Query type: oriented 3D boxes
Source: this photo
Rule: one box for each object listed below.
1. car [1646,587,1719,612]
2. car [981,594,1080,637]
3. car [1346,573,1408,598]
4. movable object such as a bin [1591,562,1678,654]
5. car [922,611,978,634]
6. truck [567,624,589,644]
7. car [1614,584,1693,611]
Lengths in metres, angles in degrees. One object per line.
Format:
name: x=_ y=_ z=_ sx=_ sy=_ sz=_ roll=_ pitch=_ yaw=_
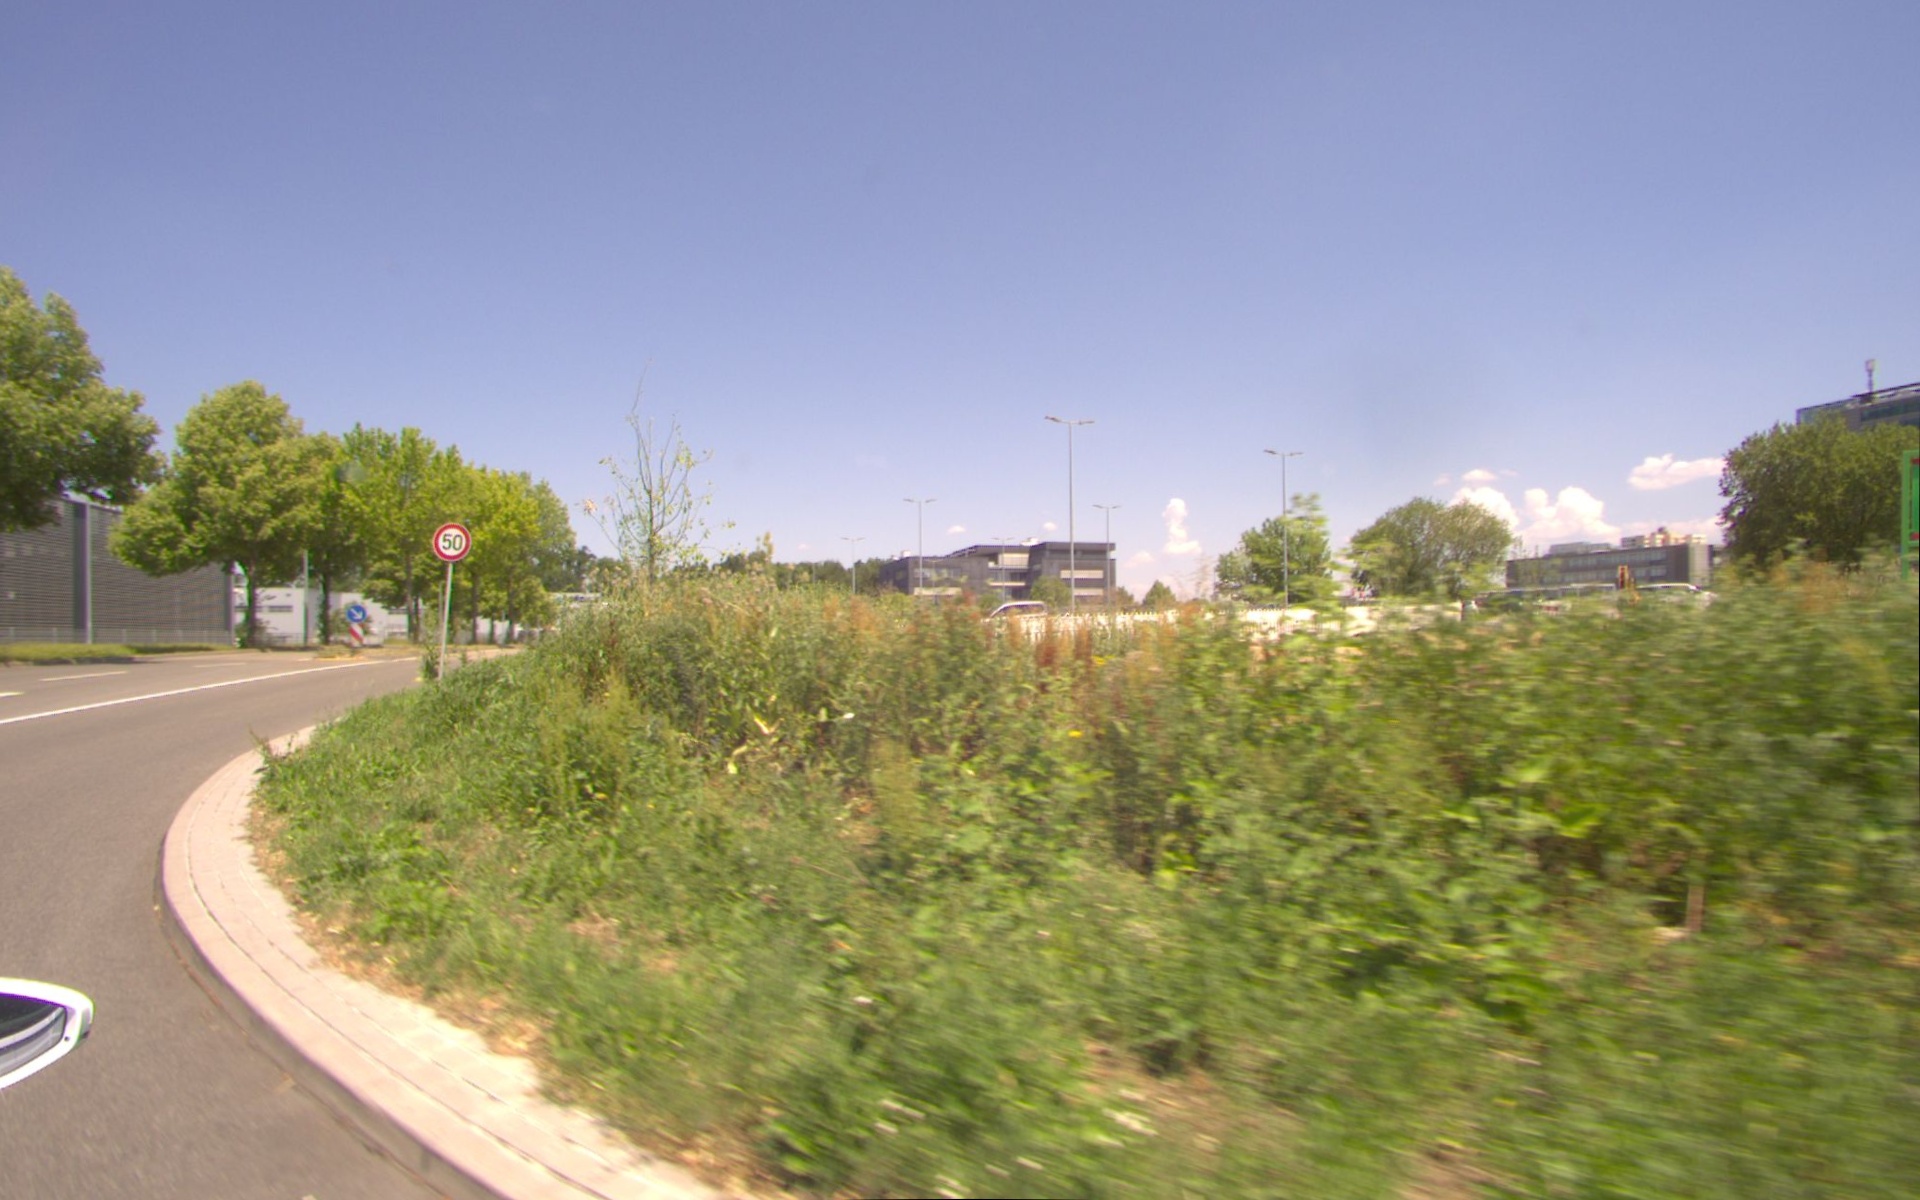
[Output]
car: x=50.062 y=-0.013 z=69.449 sx=3.955 sy=1.549 sz=1.861 roll=-3 pitch=-2 yaw=41
car: x=3.441 y=0.728 z=48.931 sx=4.398 sy=1.940 sz=1.936 roll=-2 pitch=0 yaw=-18
car: x=29.311 y=-1.037 z=70.347 sx=3.940 sy=1.662 sz=1.990 roll=-2 pitch=2 yaw=-29
movable object such as a bin: x=32.889 y=0.222 z=48.656 sx=2.950 sy=4.100 sz=8.043 roll=0 pitch=2 yaw=38
car: x=-0.808 y=1.761 z=77.177 sx=3.929 sy=1.662 sz=1.925 roll=-1 pitch=-2 yaw=-17
truck: x=-63.732 y=5.684 z=167.094 sx=2.901 sy=2.926 sz=5.785 roll=-2 pitch=2 yaw=-25
car: x=44.113 y=-0.120 z=63.695 sx=3.955 sy=1.549 sz=1.861 roll=-3 pitch=-2 yaw=41
